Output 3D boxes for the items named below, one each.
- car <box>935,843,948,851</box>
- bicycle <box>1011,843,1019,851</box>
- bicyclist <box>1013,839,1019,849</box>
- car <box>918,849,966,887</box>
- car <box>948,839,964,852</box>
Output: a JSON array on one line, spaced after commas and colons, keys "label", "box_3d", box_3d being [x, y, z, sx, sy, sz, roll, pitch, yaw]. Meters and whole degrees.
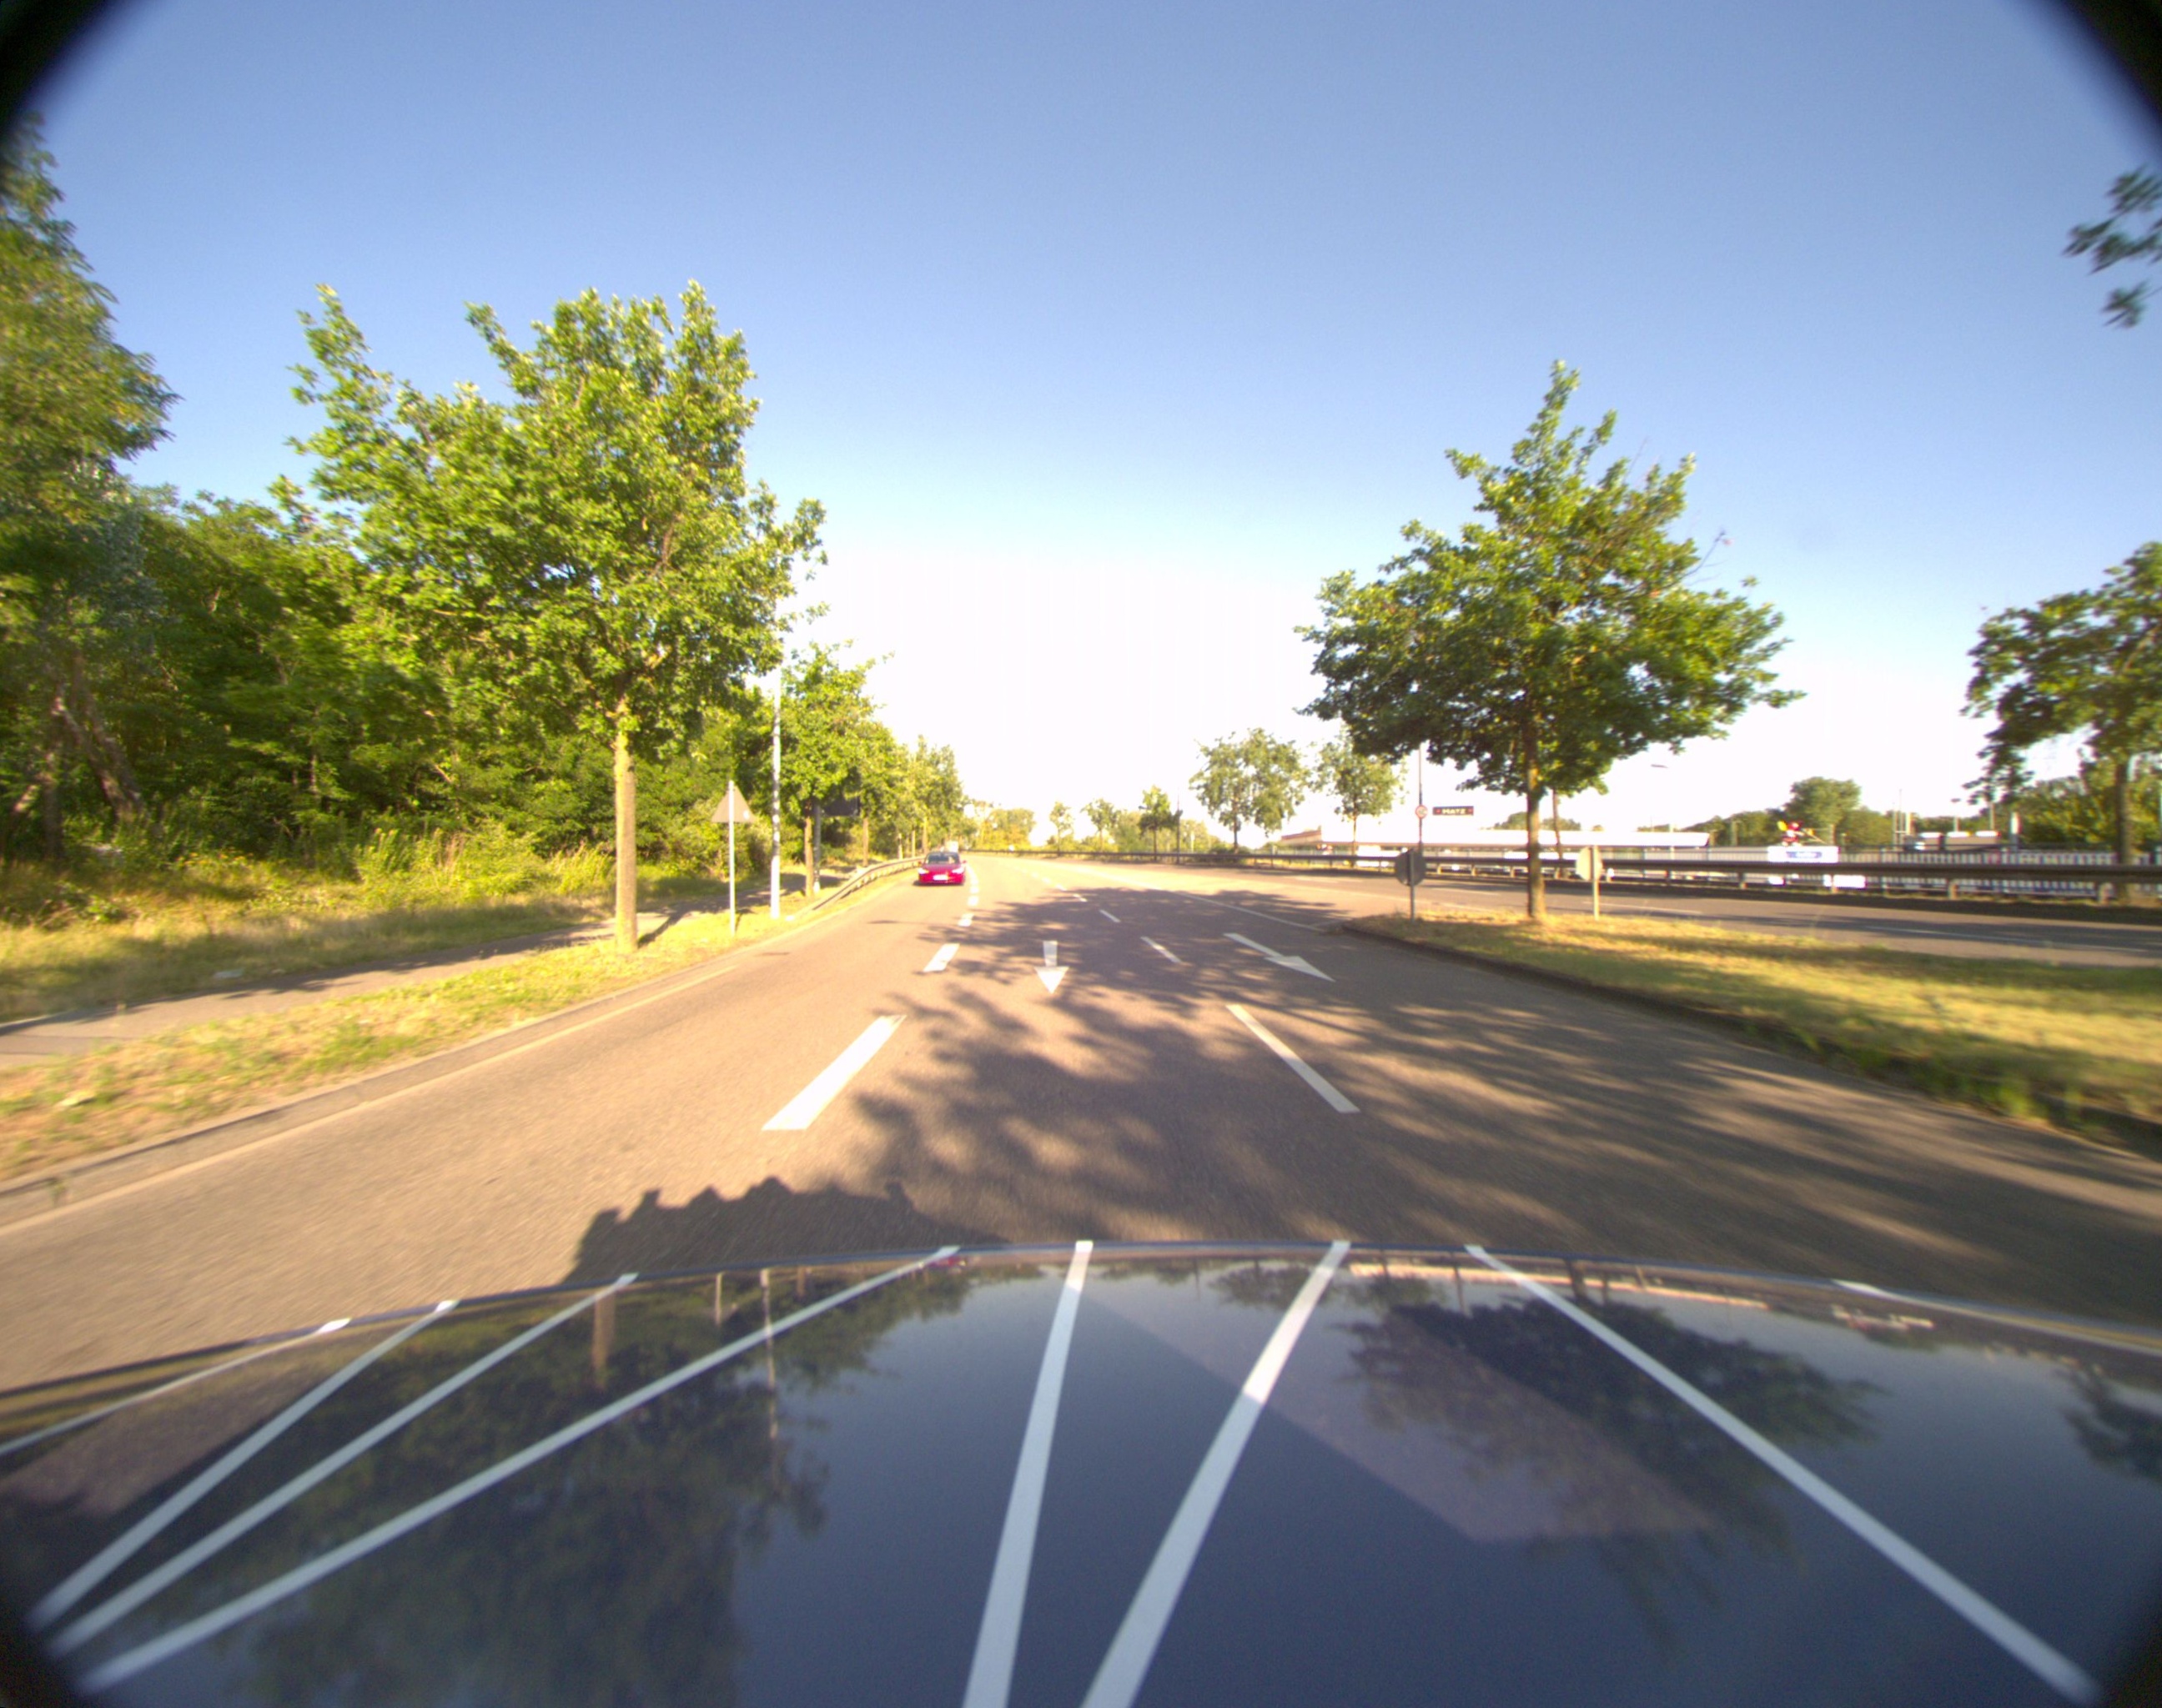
[{"label": "car", "box_3d": [-26.509, -1.325, 144.062, 1.780, 1.457, 4.375, 0, 1, -20]}, {"label": "bicycle", "box_3d": [-9.556, -1.016, 110.318, 0.585, 1.071, 2.308, 2, 1, -18]}, {"label": "bicyclist", "box_3d": [-9.458, -1.431, 110.135, 0.602, 1.451, 0.827, 2, 1, -18]}, {"label": "car", "box_3d": [-5.927, 0.557, 32.819, 1.783, 1.434, 4.355, -1, 2, -7]}, {"label": "car", "box_3d": [-21.146, -1.471, 128.211, 1.885, 2.002, 5.250, -2, 2, -18]}]
